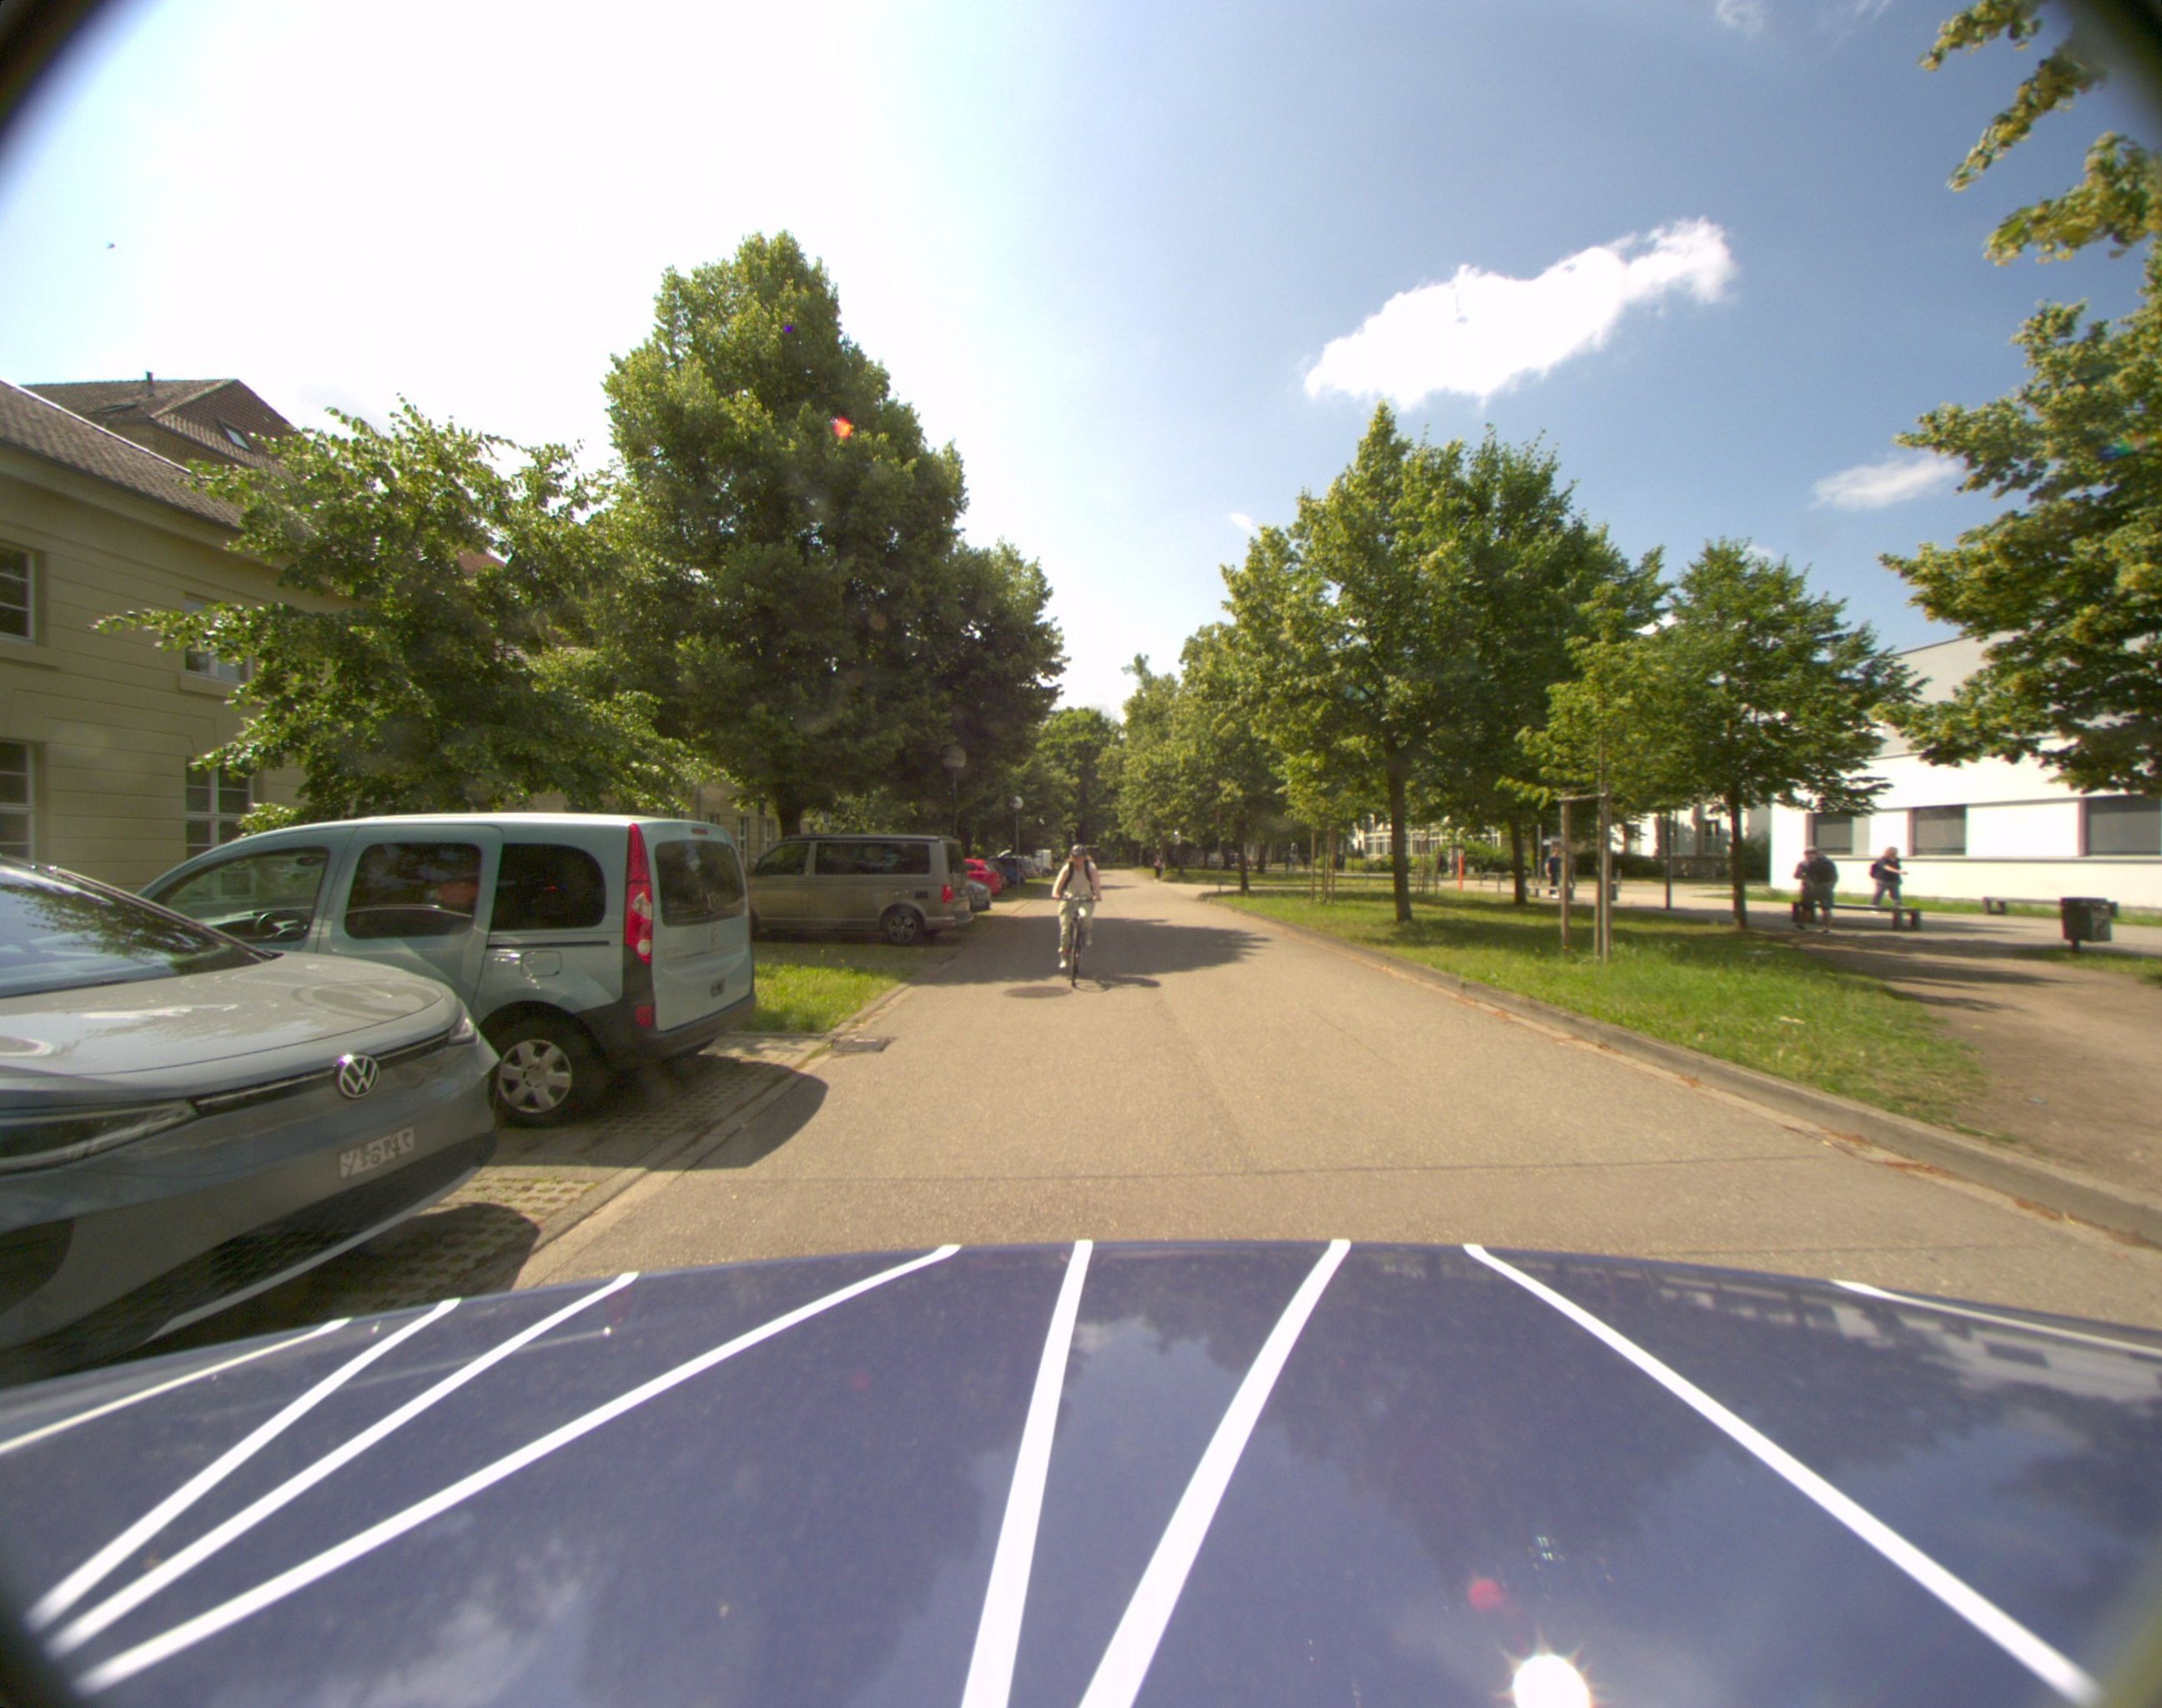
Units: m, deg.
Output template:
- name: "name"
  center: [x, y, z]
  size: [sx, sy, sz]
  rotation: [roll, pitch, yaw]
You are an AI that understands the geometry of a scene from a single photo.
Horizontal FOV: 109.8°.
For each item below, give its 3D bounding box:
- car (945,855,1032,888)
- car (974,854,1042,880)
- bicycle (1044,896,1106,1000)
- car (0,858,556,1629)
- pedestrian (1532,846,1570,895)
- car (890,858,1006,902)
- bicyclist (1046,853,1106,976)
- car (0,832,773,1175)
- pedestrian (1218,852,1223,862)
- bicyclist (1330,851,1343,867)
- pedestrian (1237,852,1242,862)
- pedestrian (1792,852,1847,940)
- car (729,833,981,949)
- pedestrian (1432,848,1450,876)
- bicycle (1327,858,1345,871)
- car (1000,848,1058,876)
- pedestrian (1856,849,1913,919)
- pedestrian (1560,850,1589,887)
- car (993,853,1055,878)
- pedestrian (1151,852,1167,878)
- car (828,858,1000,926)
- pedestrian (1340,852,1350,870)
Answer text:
- name: "car"
  center: [-4.351, 0.822, 36.190]
  size: [3.852, 1.479, 1.724]
  rotation: [0, 1, 2]
- name: "car"
  center: [-4.325, 0.774, 45.436]
  size: [3.852, 1.513, 1.724]
  rotation: [0, 1, 2]
- name: "bicycle"
  center: [-0.054, 1.142, 9.812]
  size: [0.675, 1.066, 2.136]
  rotation: [-2, 0, 1]
- name: "car"
  center: [-4.520, 0.842, 2.429]
  size: [4.359, 1.642, 1.895]
  rotation: [1, 0, 0]
- name: "pedestrian"
  center: [17.263, 0.576, 27.935]
  size: [0.793, 1.765, 1.095]
  rotation: [0, 1, 6]
- name: "car"
  center: [-4.759, 0.922, 27.579]
  size: [3.852, 1.525, 1.786]
  rotation: [0, 1, 2]
- name: "bicyclist"
  center: [-0.053, 0.734, 9.774]
  size: [0.675, 1.470, 1.063]
  rotation: [-2, 1, 1]
- name: "car"
  center: [-4.402, 0.799, 4.978]
  size: [3.997, 1.827, 1.824]
  rotation: [0, 1, 0]
- name: "pedestrian"
  center: [22.394, 0.495, 121.601]
  size: [0.765, 1.643, 1.242]
  rotation: [0, 1, 12]
- name: "bicyclist"
  center: [21.587, 0.441, 64.224]
  size: [0.778, 1.325, 0.828]
  rotation: [0, 1, 1]
- name: "pedestrian"
  center: [24.673, 0.447, 118.100]
  size: [0.765, 1.643, 1.242]
  rotation: [0, 1, 12]
- name: "pedestrian"
  center: [14.204, 0.781, 14.633]
  size: [0.725, 1.647, 0.717]
  rotation: [1, 1, 42]
- name: "car"
  center: [-4.064, 0.645, 14.163]
  size: [4.048, 2.002, 2.000]
  rotation: [0, 1, 2]
- name: "pedestrian"
  center: [22.715, 0.504, 47.930]
  size: [0.796, 1.712, 0.635]
  rotation: [0, 1, 1]
- name: "bicycle"
  center: [21.593, 0.881, 64.409]
  size: [0.778, 1.026, 2.149]
  rotation: [0, 0, 1]
- name: "car"
  center: [-3.538, 0.519, 52.277]
  size: [3.852, 1.869, 1.781]
  rotation: [0, 1, 2]
- name: "pedestrian"
  center: [19.866, 0.727, 18.797]
  size: [0.628, 1.678, 0.725]
  rotation: [0, 1, 1]
- name: "pedestrian"
  center: [22.387, 0.636, 34.458]
  size: [0.848, 1.639, 0.804]
  rotation: [0, 1, 12]
- name: "car"
  center: [-3.674, 0.717, 49.515]
  size: [3.852, 1.566, 1.702]
  rotation: [0, 1, 2]
- name: "pedestrian"
  center: [4.429, 0.612, 43.168]
  size: [0.796, 1.479, 0.635]
  rotation: [0, 1, 1]
- name: "car"
  center: [-4.086, 0.912, 19.018]
  size: [3.852, 1.585, 1.786]
  rotation: [0, 1, 2]
- name: "pedestrian"
  center: [23.242, 0.615, 66.956]
  size: [0.596, 1.619, 0.763]
  rotation: [0, 1, 1]
